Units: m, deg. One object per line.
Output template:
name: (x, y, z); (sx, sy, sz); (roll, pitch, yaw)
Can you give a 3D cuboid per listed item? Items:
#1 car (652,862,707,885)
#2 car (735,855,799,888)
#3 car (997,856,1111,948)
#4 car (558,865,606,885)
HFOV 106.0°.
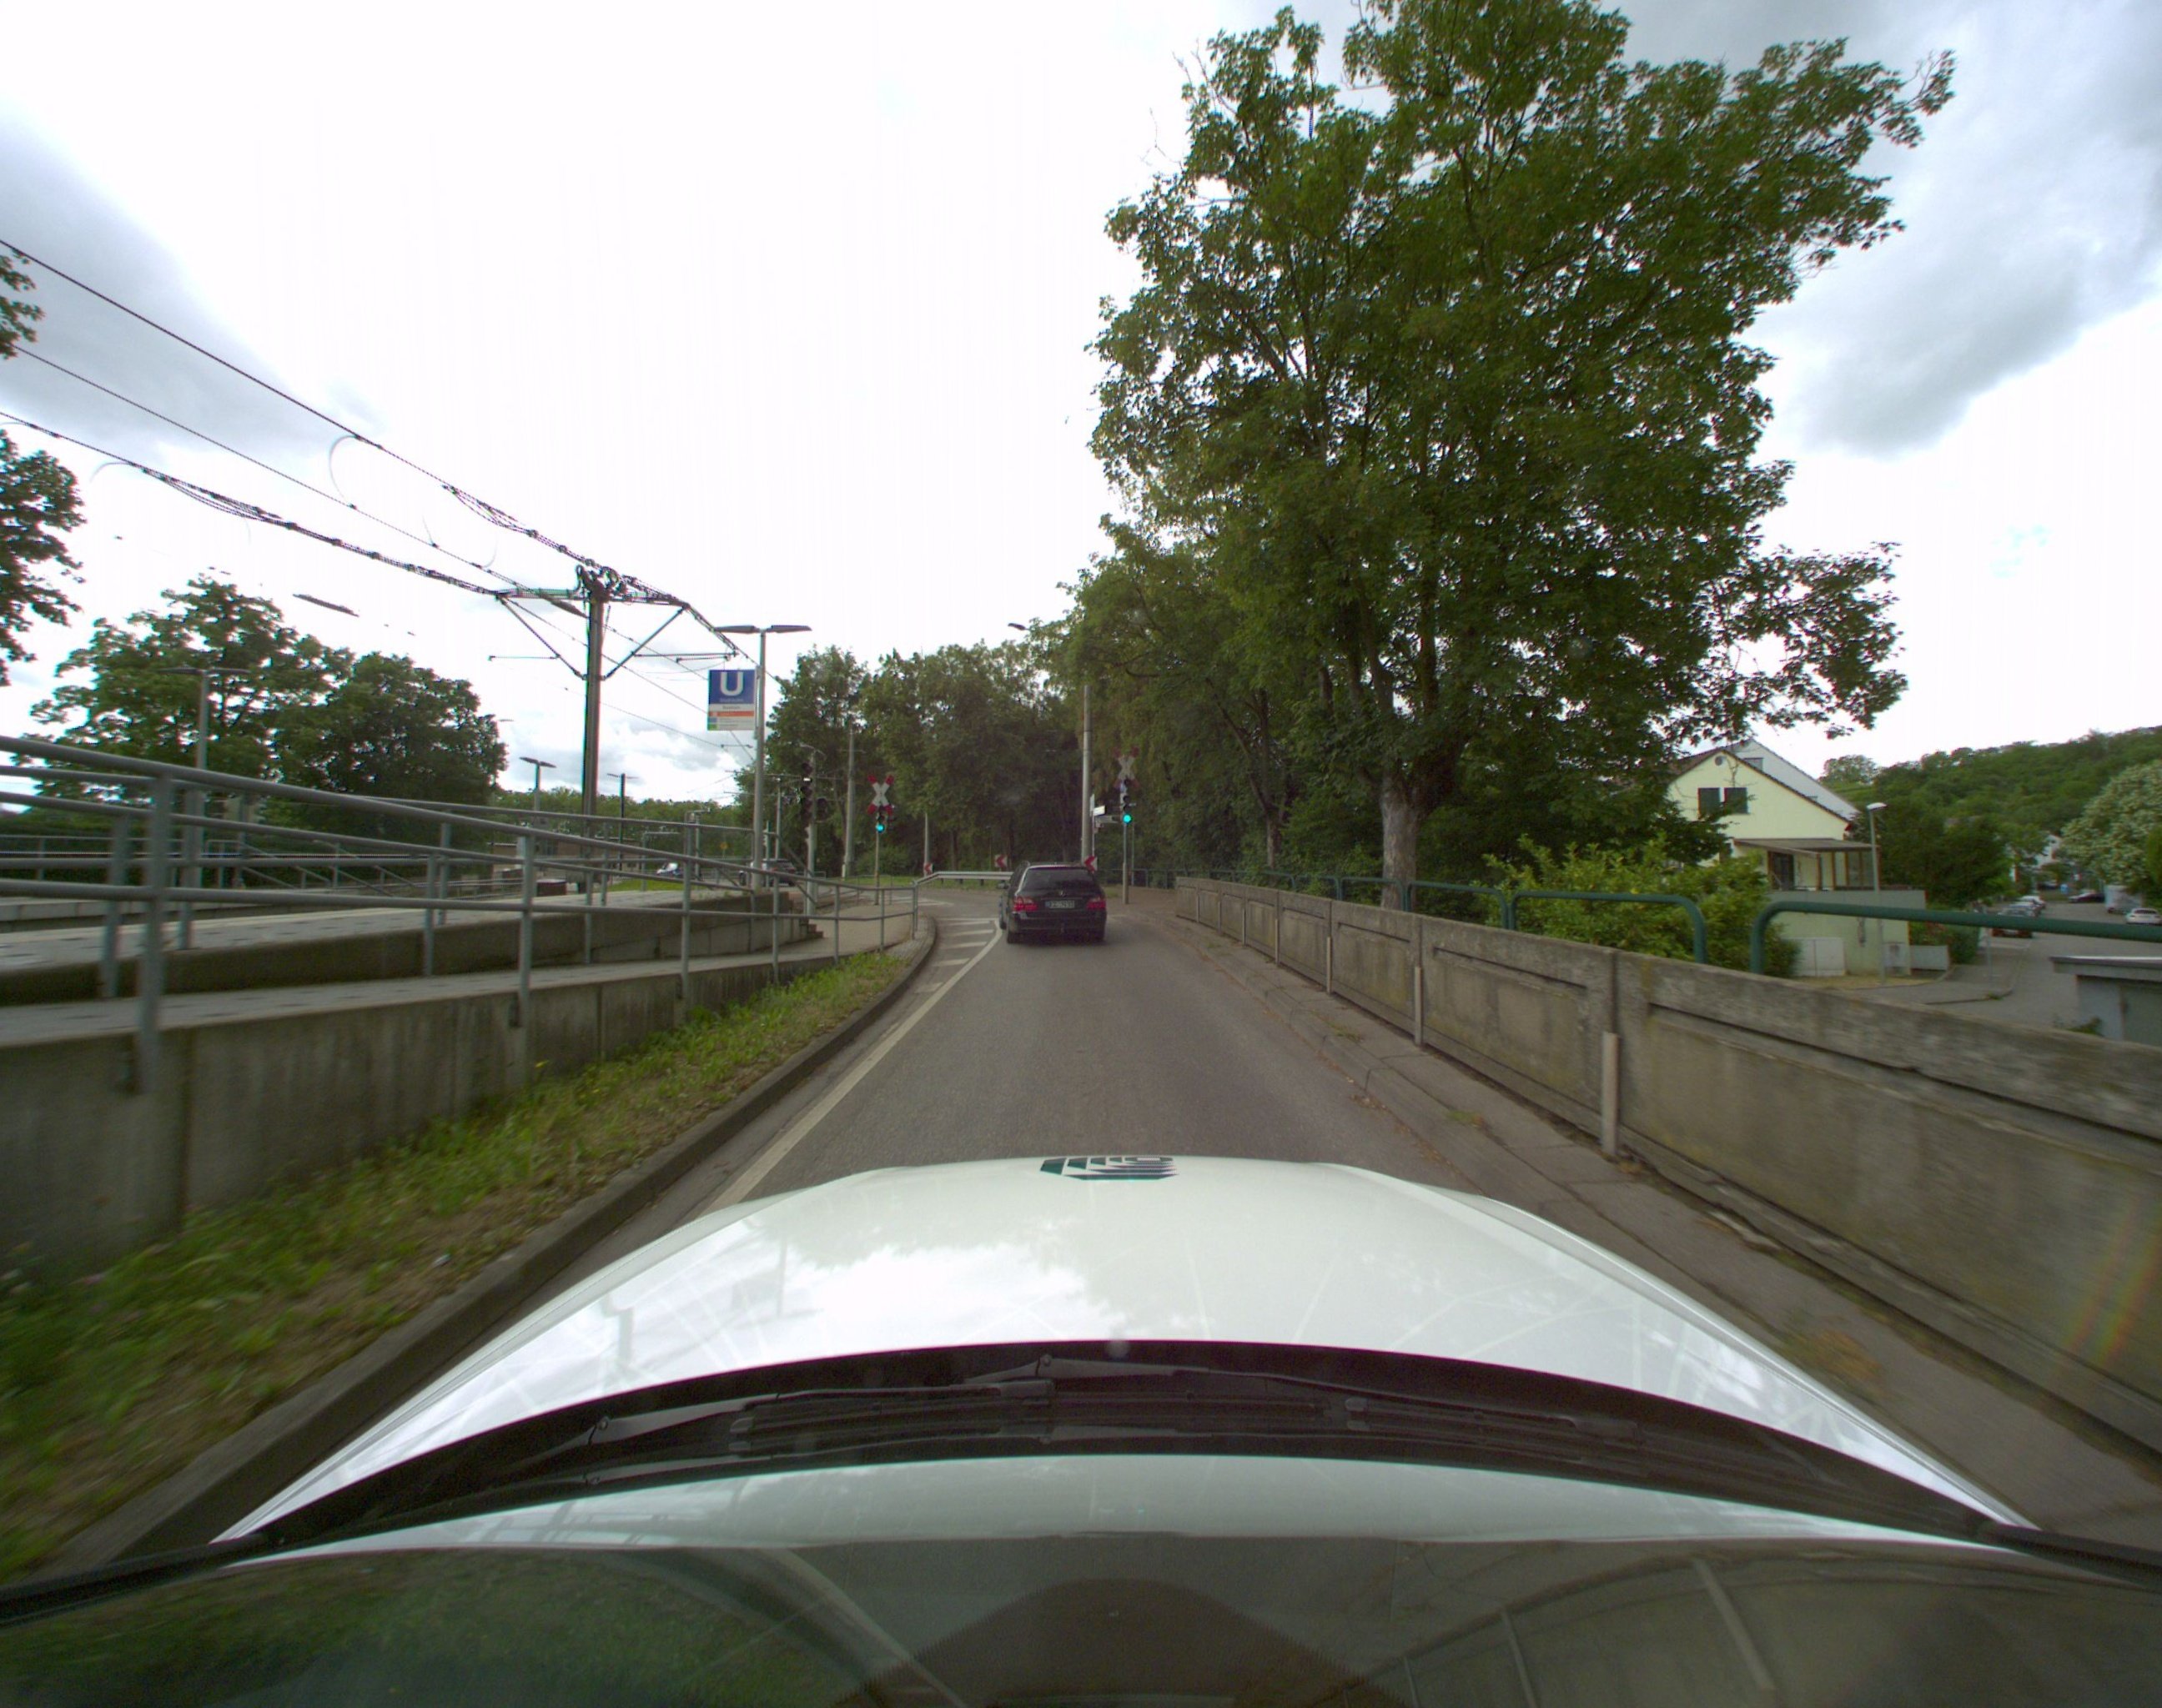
car: (-25.864, 1.249, 52.455); (3.950, 1.399, 2.012); (0, -1, 45)
car: (-16.957, 0.904, 43.895); (3.950, 1.648, 1.798); (0, 0, 45)
car: (-0.652, 0.829, 15.954); (1.781, 1.525, 3.988); (-1, 0, -8)
car: (-38.213, 1.593, 62.311); (3.949, 1.399, 2.012); (0, -1, 41)
